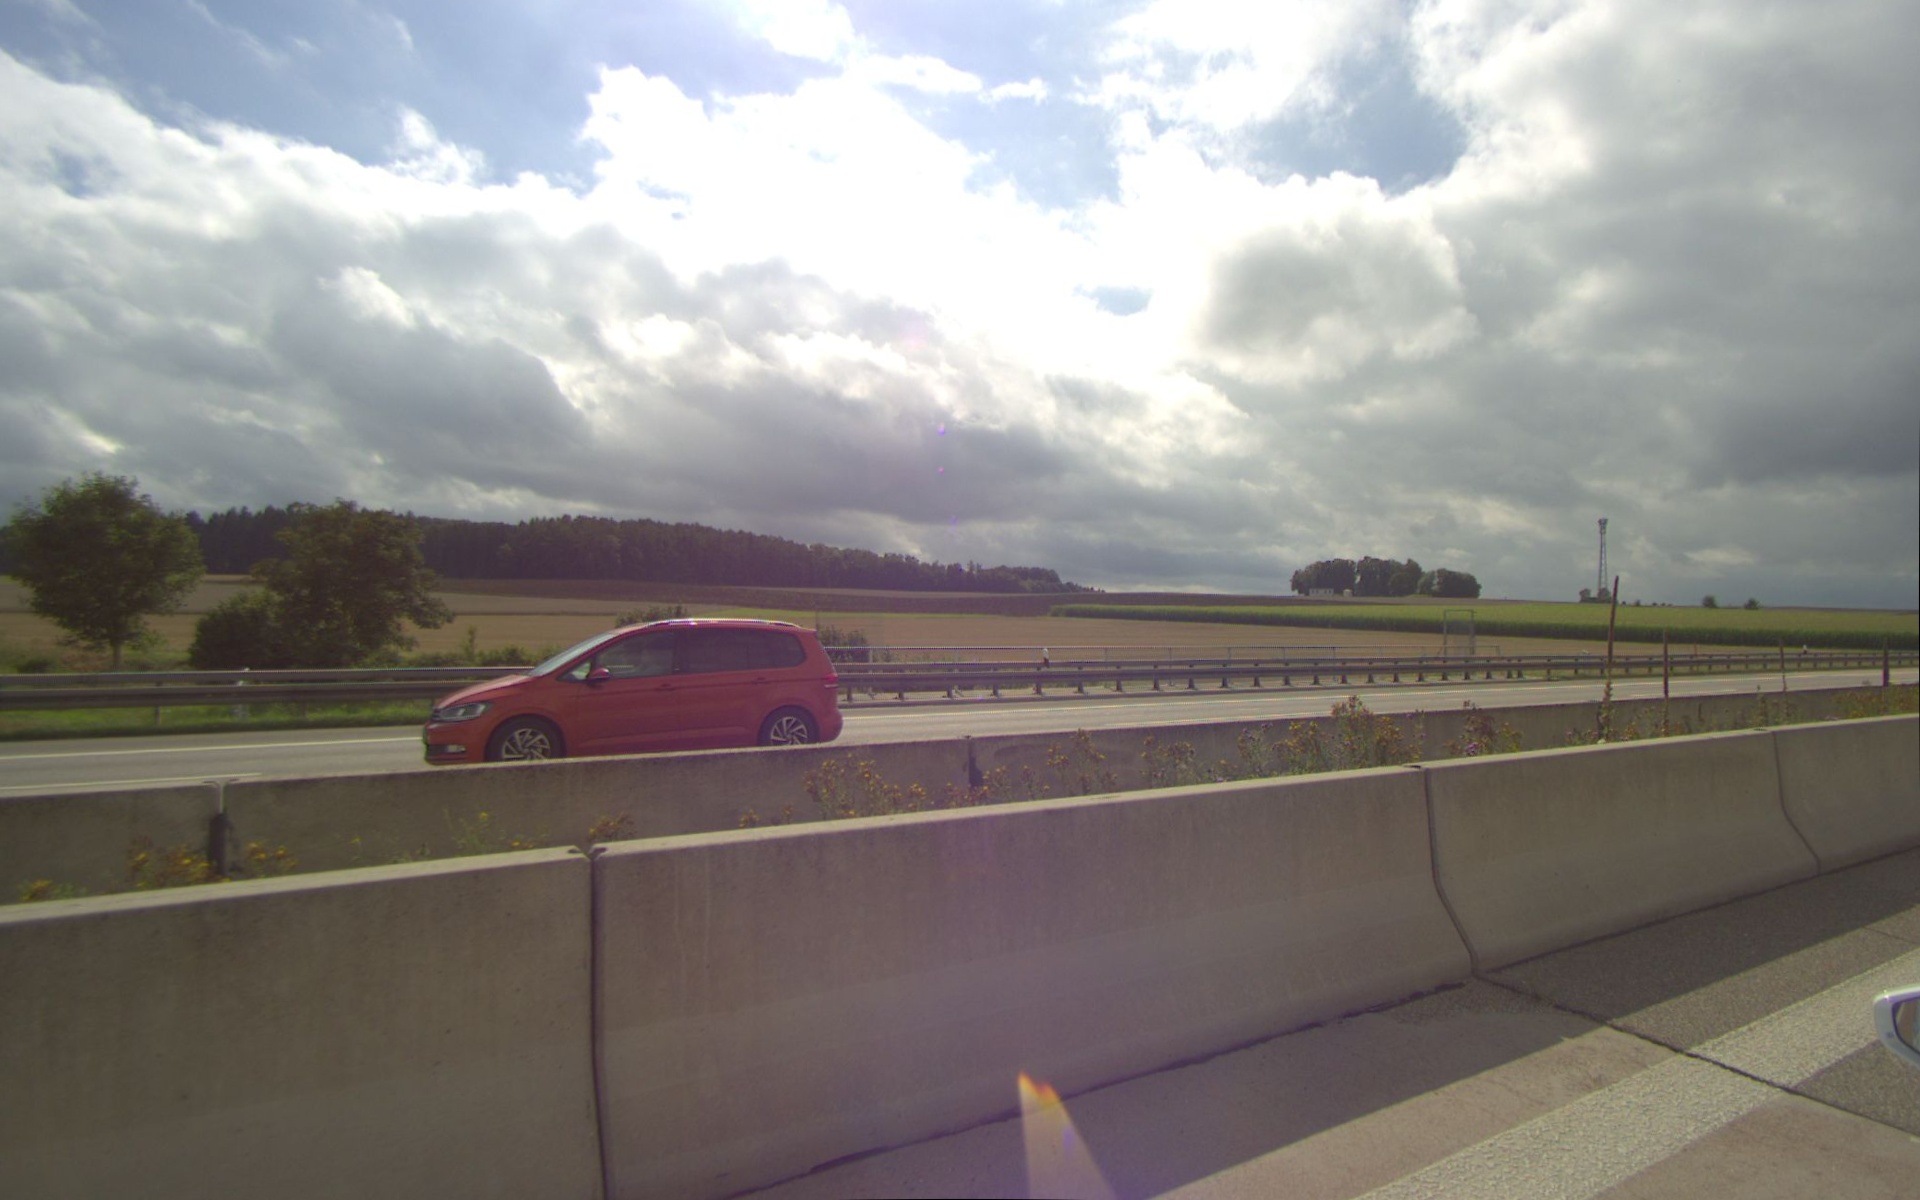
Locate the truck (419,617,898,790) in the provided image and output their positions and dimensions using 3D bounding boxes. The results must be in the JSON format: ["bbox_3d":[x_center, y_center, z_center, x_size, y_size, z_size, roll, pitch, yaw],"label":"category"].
[{"bbox_3d":[-3.268,1.028,11.345,4.925,1.594,1.698,1,-3,-32],"label":"truck"}]
